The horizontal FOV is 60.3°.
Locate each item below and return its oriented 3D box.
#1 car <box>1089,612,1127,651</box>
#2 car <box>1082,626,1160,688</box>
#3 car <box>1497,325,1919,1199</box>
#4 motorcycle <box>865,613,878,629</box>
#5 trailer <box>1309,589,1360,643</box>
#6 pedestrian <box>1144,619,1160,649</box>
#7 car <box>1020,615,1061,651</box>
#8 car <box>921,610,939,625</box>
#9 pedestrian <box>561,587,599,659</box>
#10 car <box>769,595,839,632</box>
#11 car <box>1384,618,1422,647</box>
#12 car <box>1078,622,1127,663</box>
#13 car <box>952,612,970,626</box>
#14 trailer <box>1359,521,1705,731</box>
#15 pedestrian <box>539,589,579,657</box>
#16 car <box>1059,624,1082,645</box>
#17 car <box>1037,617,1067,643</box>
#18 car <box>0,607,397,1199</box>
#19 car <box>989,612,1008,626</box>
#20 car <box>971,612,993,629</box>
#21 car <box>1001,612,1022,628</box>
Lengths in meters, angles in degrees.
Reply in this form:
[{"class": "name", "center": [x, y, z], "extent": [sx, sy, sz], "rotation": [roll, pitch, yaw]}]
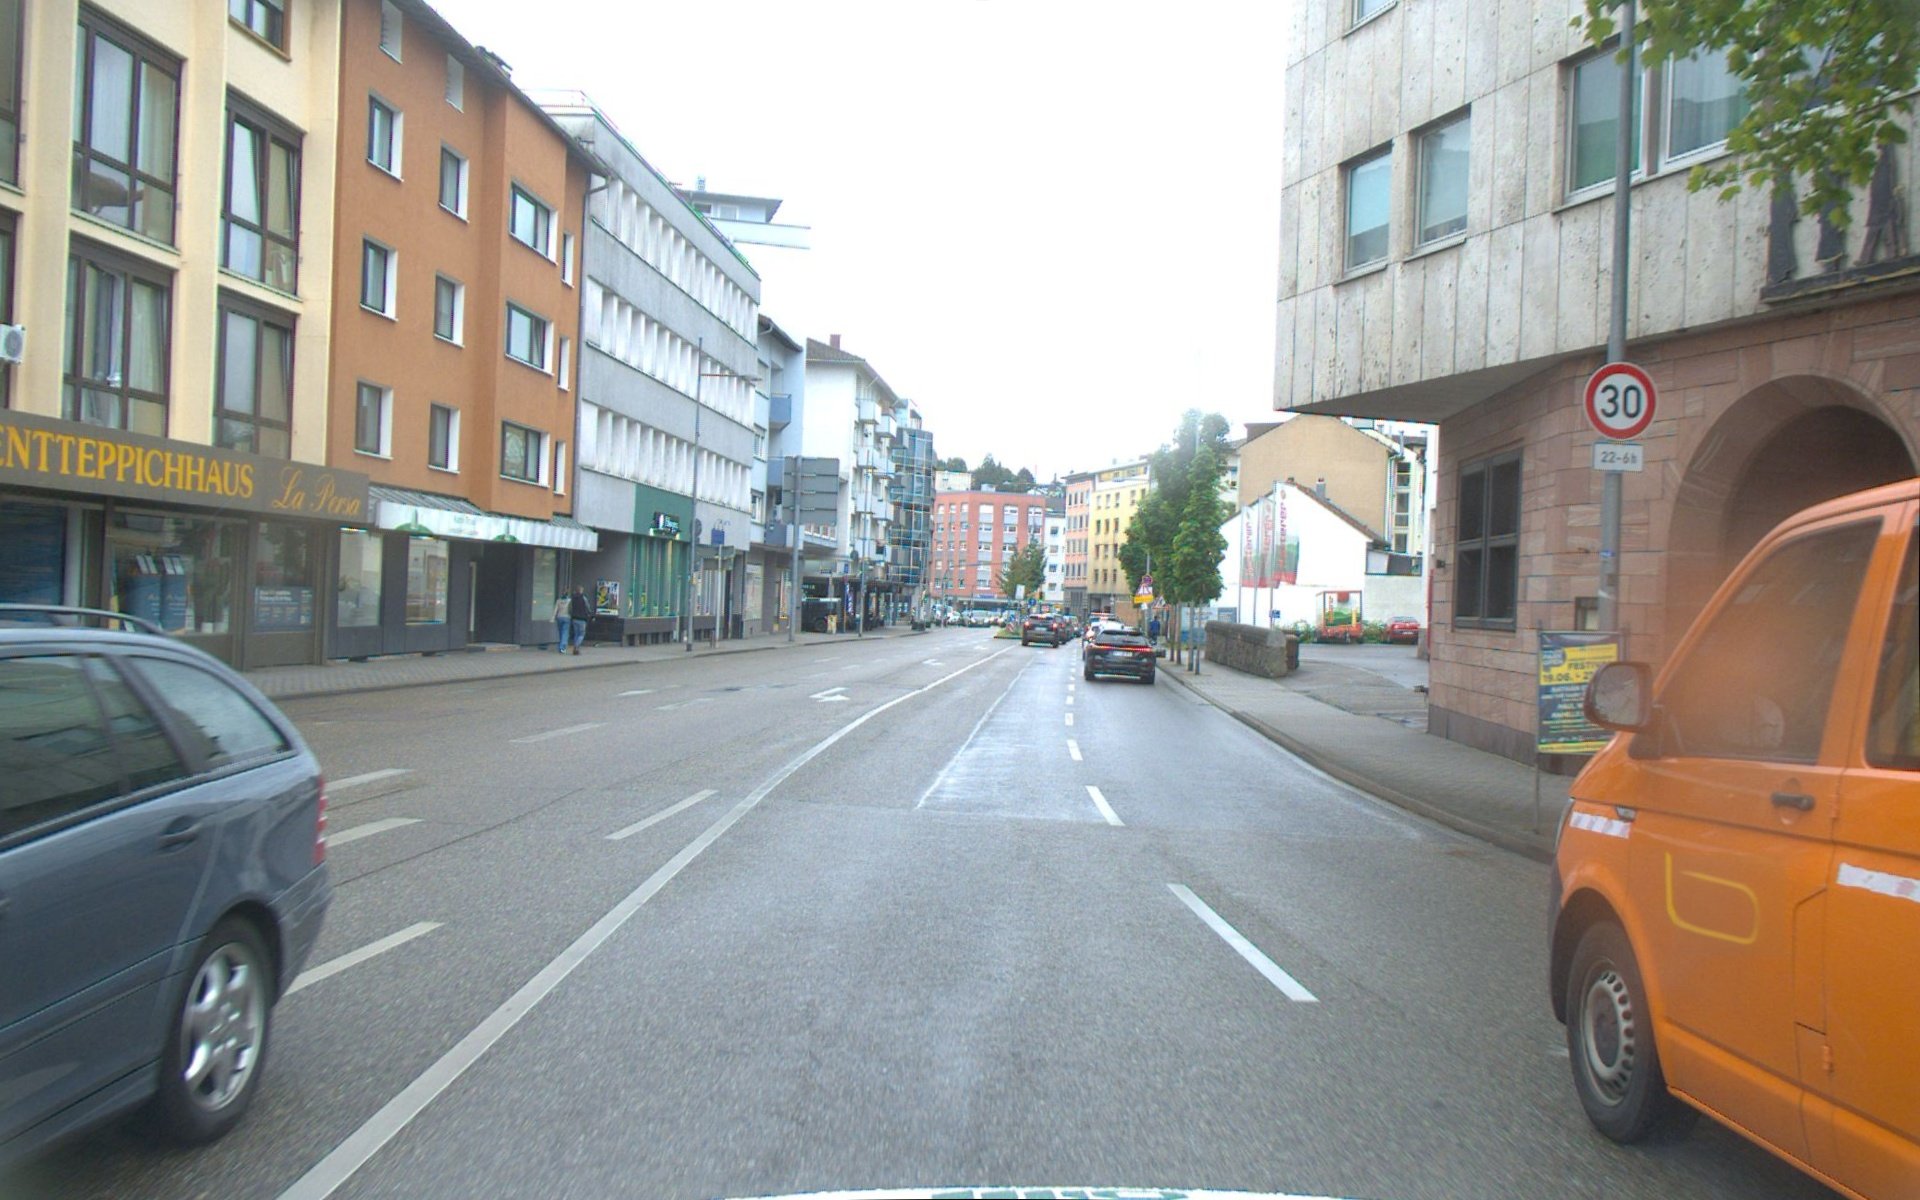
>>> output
[{"class": "car", "center": [7.848, 1.650, 87.358], "extent": [1.792, 1.836, 3.721], "rotation": [4, 1, 6]}, {"class": "car", "center": [4.267, 1.497, 44.408], "extent": [1.752, 1.427, 4.635], "rotation": [3, 0, 2]}, {"class": "car", "center": [2.955, 0.511, 3.235], "extent": [2.058, 2.126, 5.541], "rotation": [0, 0, 1]}, {"class": "motorcycle", "center": [-5.801, 1.364, 108.575], "extent": [0.514, 1.012, 2.138], "rotation": [4, 0, 6]}, {"class": "trailer", "center": [19.862, 0.840, 87.850], "extent": [2.082, 2.764, 5.395], "rotation": [0, 0, 7]}, {"class": "pedestrian", "center": [11.765, 2.067, 101.234], "extent": [0.774, 1.786, 0.872], "rotation": [1, -1, 17]}, {"class": "car", "center": [4.056, 1.652, 82.849], "extent": [1.785, 1.628, 3.720], "rotation": [4, 0, 5]}, {"class": "car", "center": [-3.210, 1.882, 176.028], "extent": [1.428, 1.455, 3.365], "rotation": [4, 0, -6]}, {"class": "pedestrian", "center": [-9.983, 0.605, 43.472], "extent": [0.563, 1.819, 0.827], "rotation": [6, 0, 5]}, {"class": "car", "center": [-9.306, 0.798, 98.747], "extent": [3.880, 2.070, 1.581], "rotation": [2, -1, 5]}, {"class": "car", "center": [23.156, 1.679, 86.554], "extent": [1.556, 1.482, 3.267], "rotation": [1, -1, 8]}, {"class": "car", "center": [5.440, 1.595, 63.411], "extent": [1.630, 1.420, 3.868], "rotation": [0, 0, 1]}, {"class": "car", "center": [0.058, 2.057, 176.899], "extent": [1.686, 1.448, 4.162], "rotation": [0, -1, -3]}, {"class": "trailer", "center": [9.698, 0.440, 28.674], "extent": [2.591, 3.232, 5.679], "rotation": [1, -1, -22]}, {"class": "pedestrian", "center": [-10.571, 0.601, 43.592], "extent": [0.617, 1.704, 0.908], "rotation": [6, 0, 3]}, {"class": "car", "center": [7.838, 2.437, 117.611], "extent": [1.606, 1.405, 3.349], "rotation": [1, -1, 3]}, {"class": "car", "center": [5.179, 1.652, 92.906], "extent": [1.606, 1.405, 3.349], "rotation": [1, -1, 3]}, {"class": "car", "center": [-2.829, 0.749, 3.378], "extent": [1.697, 1.465, 4.414], "rotation": [1, 0, 2]}, {"class": "car", "center": [4.004, 2.000, 172.468], "extent": [1.686, 1.448, 4.162], "rotation": [0, -1, -3]}, {"class": "car", "center": [2.040, 1.885, 149.954], "extent": [1.672, 1.493, 4.832], "rotation": [0, -1, 5]}, {"class": "car", "center": [4.674, 1.789, 148.829], "extent": [1.684, 1.448, 4.167], "rotation": [0, -1, 4]}]
